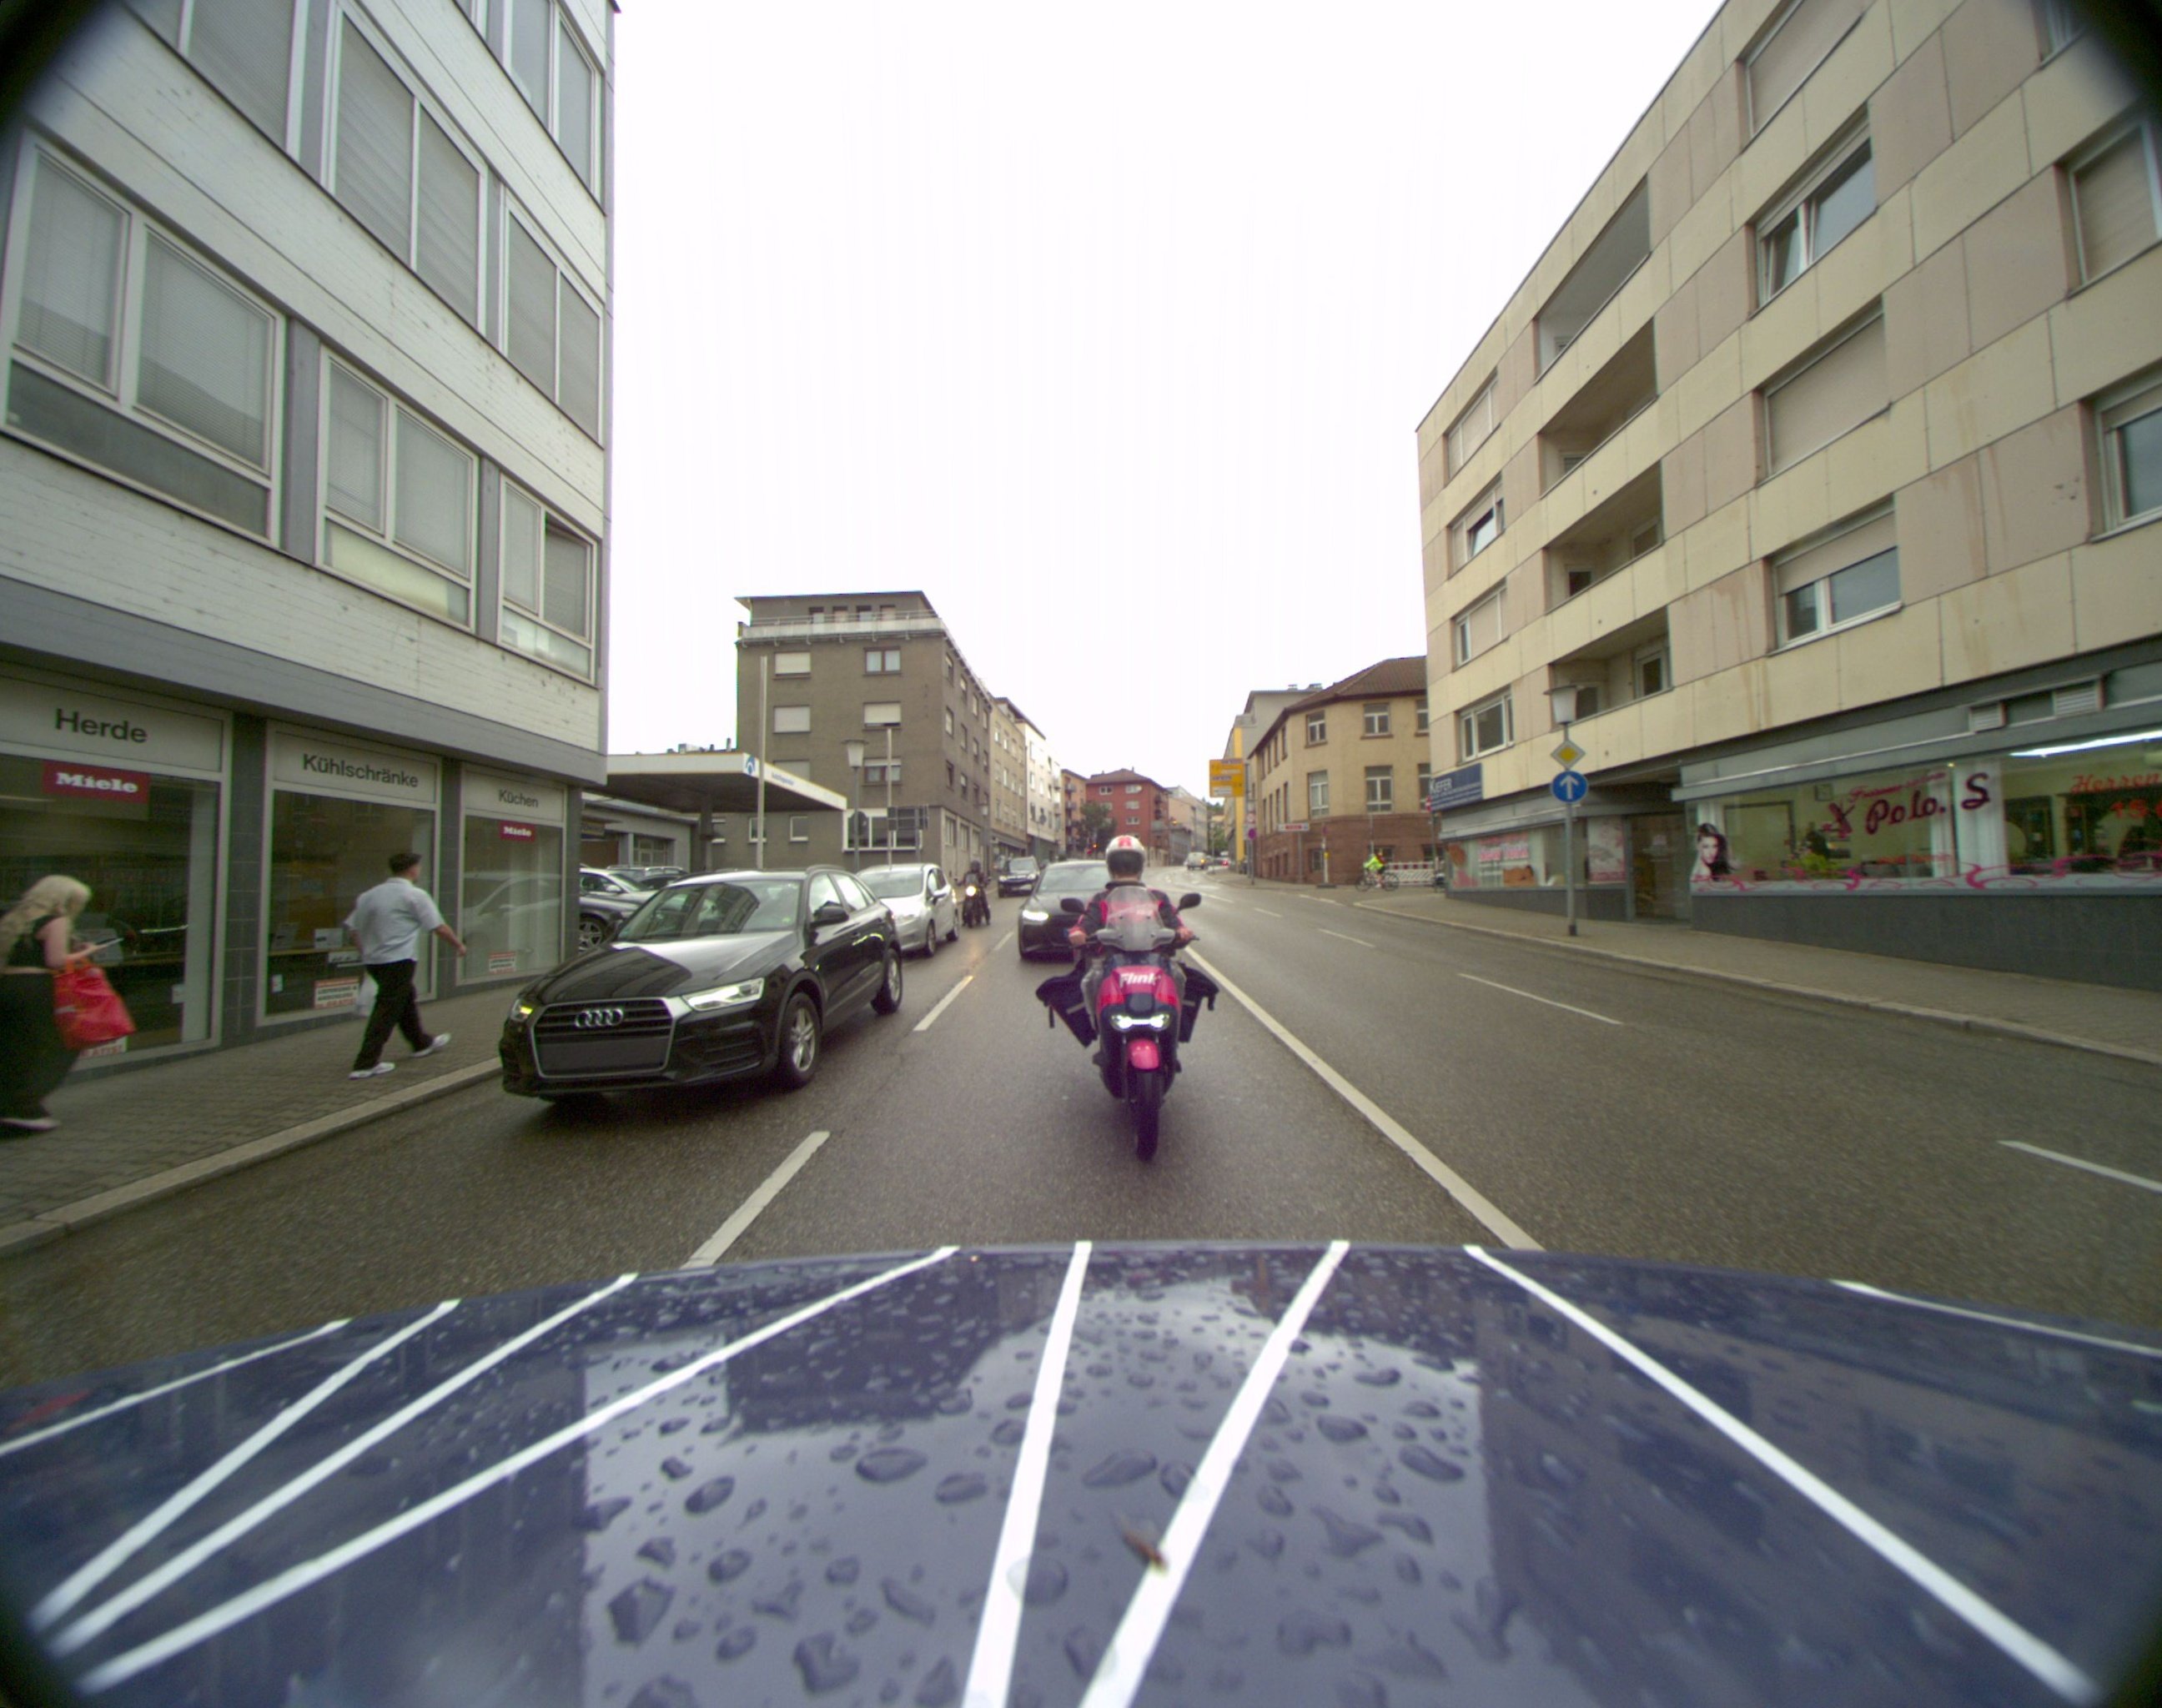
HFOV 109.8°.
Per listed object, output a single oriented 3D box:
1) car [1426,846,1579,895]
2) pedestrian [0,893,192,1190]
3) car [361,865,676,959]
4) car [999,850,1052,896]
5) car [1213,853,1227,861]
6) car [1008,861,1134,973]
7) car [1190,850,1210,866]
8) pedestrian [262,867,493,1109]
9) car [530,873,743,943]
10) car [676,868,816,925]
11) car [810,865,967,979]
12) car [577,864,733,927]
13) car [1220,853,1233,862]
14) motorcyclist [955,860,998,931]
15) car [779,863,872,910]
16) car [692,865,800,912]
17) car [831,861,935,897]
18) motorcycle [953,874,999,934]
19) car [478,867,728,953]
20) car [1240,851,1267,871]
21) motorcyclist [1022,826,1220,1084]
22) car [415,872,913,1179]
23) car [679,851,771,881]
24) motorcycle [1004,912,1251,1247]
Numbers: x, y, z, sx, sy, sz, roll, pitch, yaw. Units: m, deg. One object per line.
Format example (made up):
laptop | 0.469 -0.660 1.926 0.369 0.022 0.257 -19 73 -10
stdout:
car | 14.747 0.569 26.805 4.358 1.495 1.755 -3 0 11
pedestrian | -6.226 1.041 4.547 0.767 1.542 0.890 1 1 -2
car | -9.528 0.996 13.274 4.003 1.441 1.796 2 -1 -16
car | -2.398 0.782 33.820 1.848 1.892 3.766 -1 0 3
car | 24.721 0.510 134.970 1.860 1.445 4.323 -1 0 16
car | -0.031 0.923 12.943 1.705 1.451 4.319 -3 0 3
car | 13.259 0.413 84.596 1.864 1.793 4.270 0 0 13
pedestrian | -5.459 0.971 5.987 0.786 1.696 1.120 1 1 -2
car | -10.353 1.216 18.001 4.001 1.393 1.669 -1 0 -13
car | -9.502 1.148 22.036 1.792 1.407 4.616 0 0 3
car | -3.264 1.071 13.770 1.831 1.532 4.251 -4 0 -3
car | -12.078 1.129 21.957 1.793 1.535 4.493 2 -1 2
car | 24.699 0.547 128.779 1.860 1.445 4.323 -1 0 15
motorcyclist | -2.489 0.968 18.173 0.847 1.580 0.962 -4 1 -4
car | -9.247 1.125 27.896 1.793 1.503 4.437 -1 0 2
car | -11.976 1.206 27.533 1.793 1.502 4.420 2 -1 2
car | -9.805 1.229 37.871 4.531 1.495 2.001 -3 0 5
motorcycle | -2.479 1.145 18.182 0.847 1.219 2.372 -4 0 -4
car | -9.701 1.091 15.772 4.002 1.521 1.761 -1 0 -15
car | 13.672 0.541 60.270 1.861 1.445 3.966 -4 -1 10
motorcyclist | 0.240 0.564 4.625 1.010 1.373 0.835 -4 0 3
car | -2.845 1.032 6.447 1.828 1.551 4.201 -4 0 0
car | -17.868 0.634 38.263 3.751 1.445 1.795 0 -2 3
motorcycle | 0.272 1.104 4.694 1.010 1.218 2.694 -4 0 3
